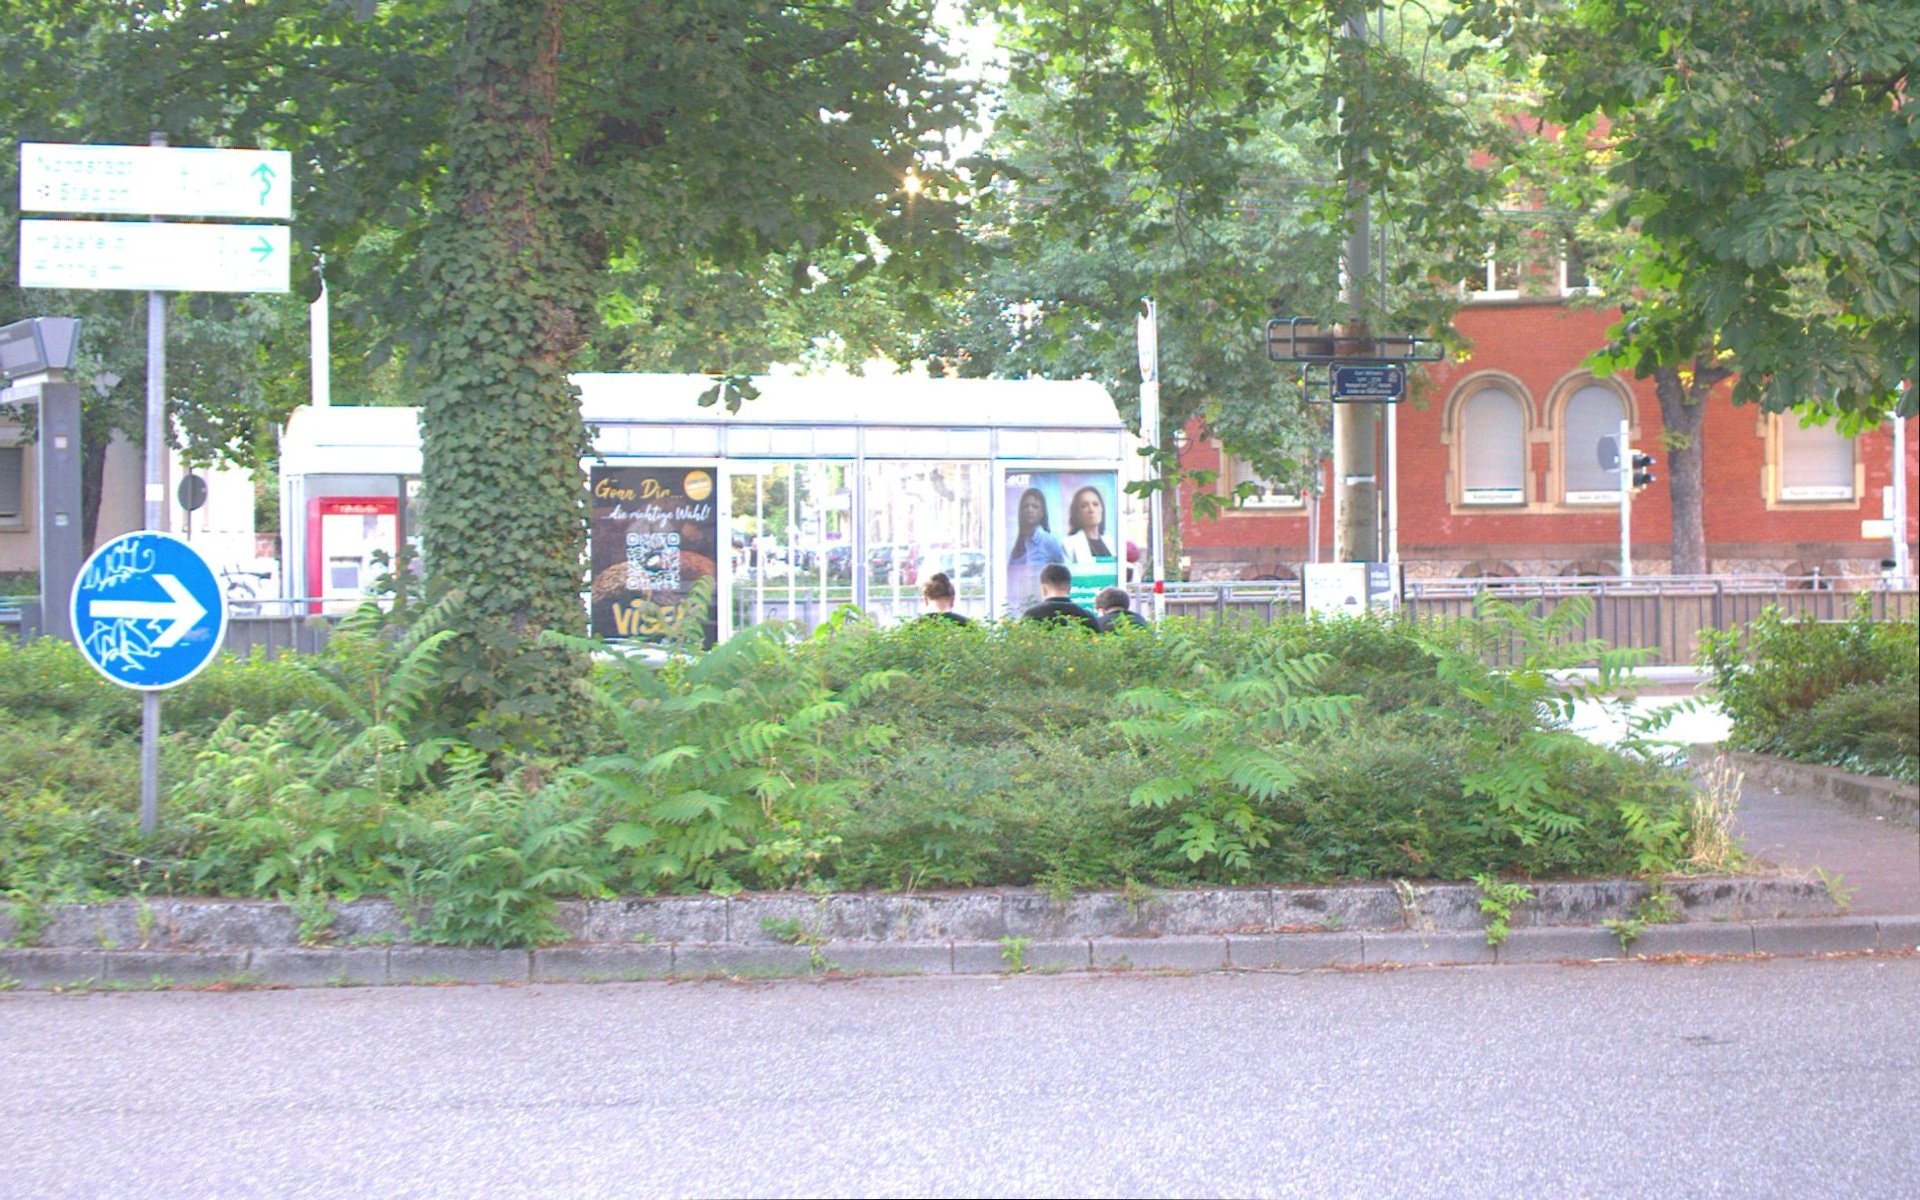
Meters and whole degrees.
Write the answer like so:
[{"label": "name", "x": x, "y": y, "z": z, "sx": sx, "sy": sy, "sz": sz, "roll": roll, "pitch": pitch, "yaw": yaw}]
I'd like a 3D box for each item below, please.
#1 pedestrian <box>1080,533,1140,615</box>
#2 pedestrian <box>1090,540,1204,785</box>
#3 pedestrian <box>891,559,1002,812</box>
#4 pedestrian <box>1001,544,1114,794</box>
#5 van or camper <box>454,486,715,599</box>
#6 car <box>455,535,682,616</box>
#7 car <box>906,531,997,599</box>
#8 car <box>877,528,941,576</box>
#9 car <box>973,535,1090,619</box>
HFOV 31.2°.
[{"label": "pedestrian", "x": 2.814, "y": -0.491, "z": 64.320, "sx": 0.866, "sy": 1.521, "sz": 0.714, "roll": 0, "pitch": 1, "yaw": 35}, {"label": "pedestrian", "x": 1.104, "y": 0.360, "z": 20.424, "sx": 0.616, "sy": 1.426, "sz": 0.655, "roll": 0, "pitch": 1, "yaw": -2}, {"label": "pedestrian", "x": -0.084, "y": 0.485, "z": 19.914, "sx": 0.616, "sy": 1.426, "sz": 0.655, "roll": 0, "pitch": 1, "yaw": -2}, {"label": "pedestrian", "x": 0.564, "y": 0.391, "z": 20.037, "sx": 0.616, "sy": 1.426, "sz": 0.655, "roll": 0, "pitch": 1, "yaw": -2}, {"label": "van or camper", "x": -10.888, "y": -1.652, "z": 99.527, "sx": 7.363, "sy": 3.072, "sz": 2.674, "roll": 1, "pitch": 1, "yaw": -7}, {"label": "car", "x": -8.760, "y": -0.561, "z": 76.889, "sx": 4.949, "sy": 1.698, "sz": 2.001, "roll": 1, "pitch": 1, "yaw": -7}, {"label": "car", "x": -0.253, "y": -0.923, "z": 89.721, "sx": 1.993, "sy": 1.698, "sz": 4.721, "roll": 1, "pitch": 1, "yaw": -5}, {"label": "car", "x": -1.879, "y": -1.761, "z": 125.290, "sx": 1.993, "sy": 1.698, "sz": 4.721, "roll": 1, "pitch": 1, "yaw": -5}, {"label": "car", "x": 1.489, "y": -0.519, "z": 73.464, "sx": 1.993, "sy": 1.698, "sz": 4.721, "roll": 1, "pitch": 1, "yaw": -5}]
